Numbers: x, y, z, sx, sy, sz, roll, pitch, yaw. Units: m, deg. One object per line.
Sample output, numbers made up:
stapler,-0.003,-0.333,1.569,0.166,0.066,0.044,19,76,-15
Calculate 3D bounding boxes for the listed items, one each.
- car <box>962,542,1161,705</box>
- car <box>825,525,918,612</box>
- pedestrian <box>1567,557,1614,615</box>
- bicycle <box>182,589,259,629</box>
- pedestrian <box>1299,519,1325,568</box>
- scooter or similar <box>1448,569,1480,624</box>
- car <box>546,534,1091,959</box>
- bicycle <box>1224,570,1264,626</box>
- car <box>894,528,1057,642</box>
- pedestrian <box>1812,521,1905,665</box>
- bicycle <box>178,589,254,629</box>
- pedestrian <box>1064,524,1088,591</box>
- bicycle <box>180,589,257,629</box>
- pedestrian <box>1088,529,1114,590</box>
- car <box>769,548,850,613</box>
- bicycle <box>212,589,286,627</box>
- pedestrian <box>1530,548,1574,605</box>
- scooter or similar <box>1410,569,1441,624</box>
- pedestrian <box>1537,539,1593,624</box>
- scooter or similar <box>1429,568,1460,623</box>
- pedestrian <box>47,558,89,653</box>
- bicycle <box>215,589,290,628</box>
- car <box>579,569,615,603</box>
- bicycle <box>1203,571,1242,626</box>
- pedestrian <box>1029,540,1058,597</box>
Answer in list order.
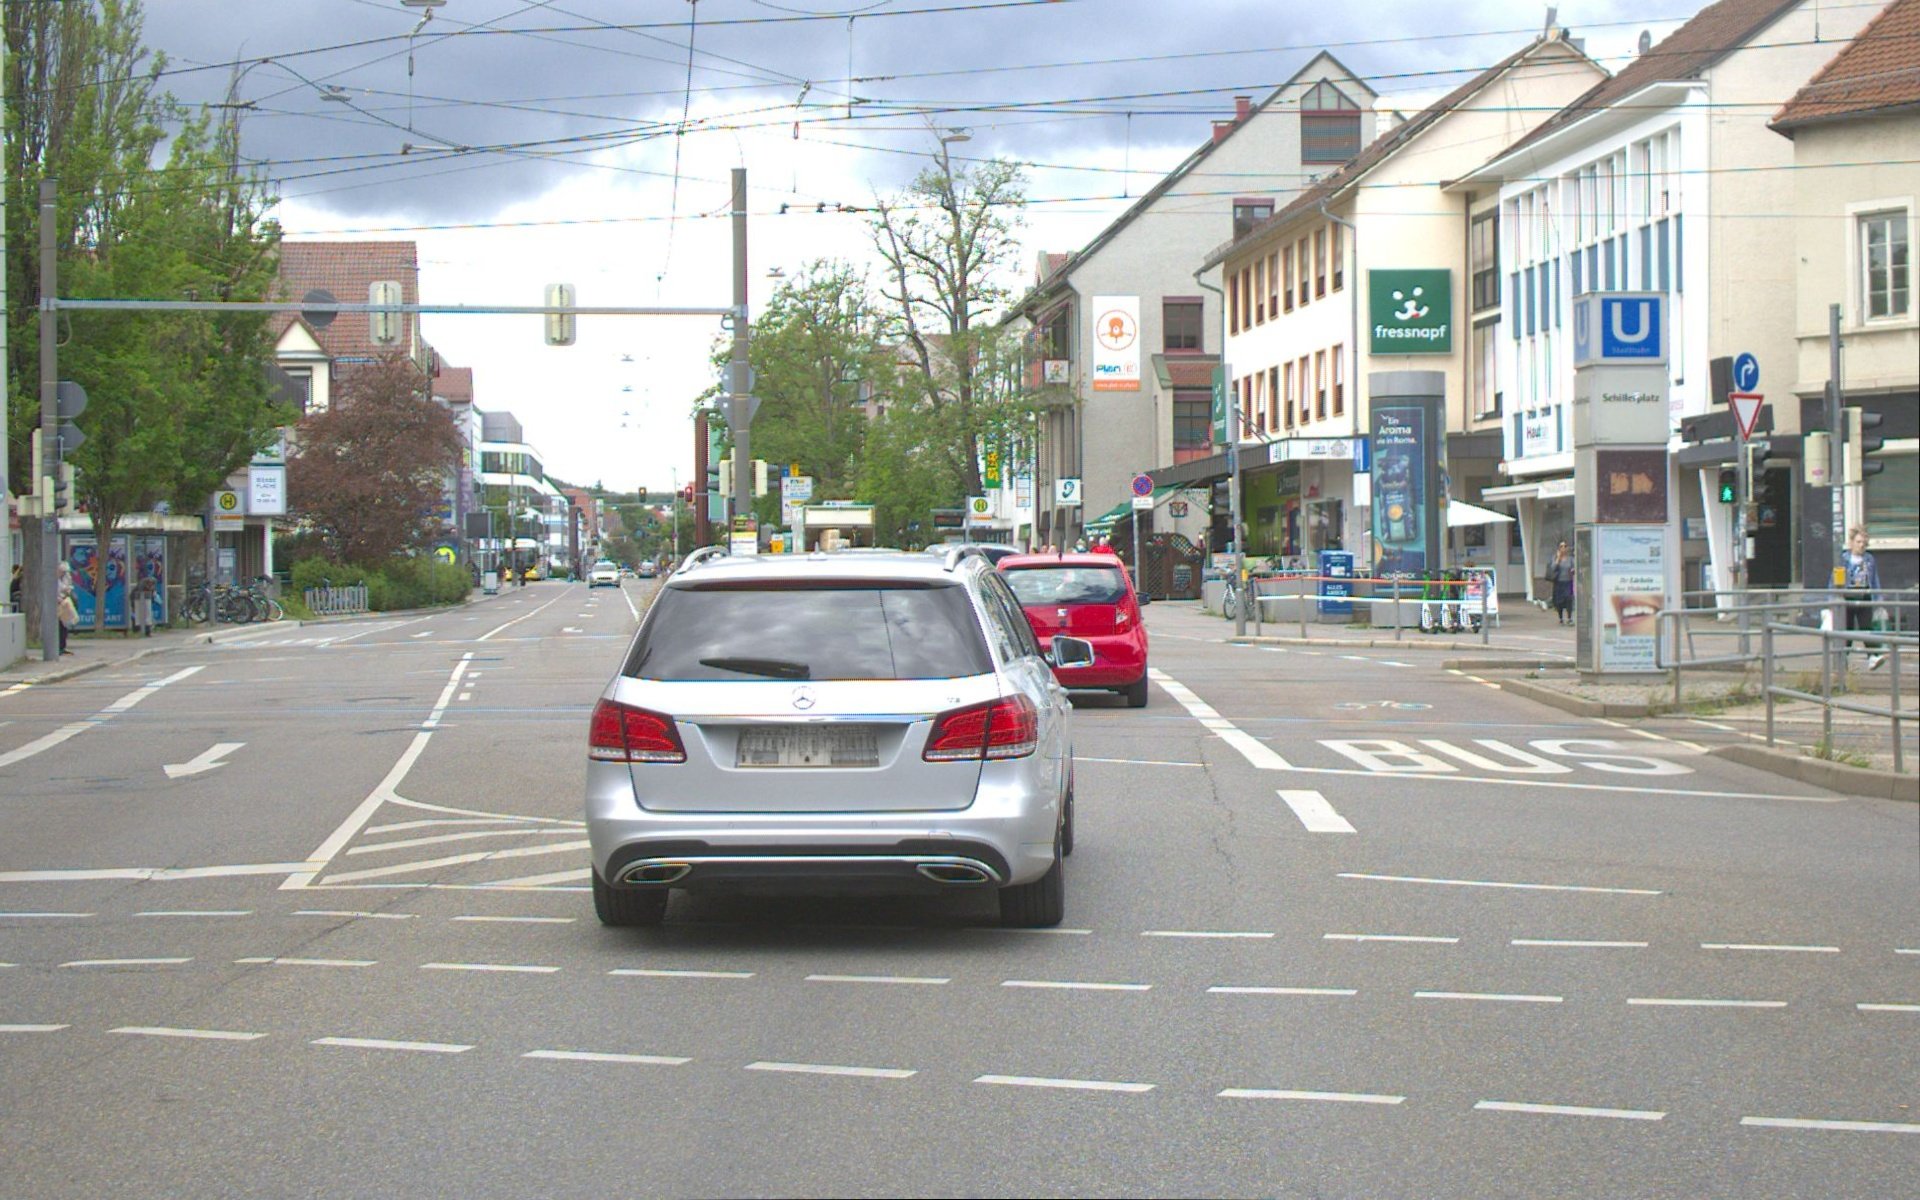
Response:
car,1.053,0.191,33.861,1.734,1.503,3.999,0,1,5
car,-1.890,-0.678,72.444,1.734,1.753,4.001,-1,1,-4
pedestrian,12.569,-0.279,68.546,0.736,1.160,0.643,0,0,-8
bicycle,-19.236,0.242,89.437,1.937,1.025,0.530,0,0,-15
pedestrian,8.797,-1.417,85.960,0.533,1.214,0.580,0,0,-8
scooter or similar,9.272,-0.068,63.287,0.271,0.998,1.029,-1,1,-9
car,-0.430,0.500,14.400,1.846,1.503,4.171,-1,1,3
bicycle,5.798,-0.050,70.200,0.448,1.103,2.149,-1,1,-5
car,0.174,-0.231,48.114,1.734,1.503,4.001,-1,1,-8
pedestrian,10.858,-0.086,41.564,0.840,1.712,0.727,-1,1,-9
bicycle,-19.623,0.231,90.661,1.937,1.025,0.530,0,0,-15
pedestrian,2.906,-1.053,85.948,0.578,1.661,0.651,0,0,1
bicycle,-19.437,0.236,90.082,1.937,1.025,0.530,0,0,-15
pedestrian,3.379,-0.973,82.508,0.578,1.464,0.651,0,0,-2
car,-4.165,-0.539,94.429,1.993,1.744,4.001,0,1,-6
bicycle,-19.321,0.214,93.431,1.937,1.025,0.530,0,0,-15
pedestrian,12.309,-0.488,71.462,0.736,1.160,0.643,0,0,-8
scooter or similar,8.551,-0.077,63.155,0.271,0.998,1.029,-1,1,-9
pedestrian,11.389,-0.352,64.733,0.640,1.586,0.898,0,0,-25
scooter or similar,8.911,-0.089,63.225,0.271,0.998,1.029,-1,1,-9
pedestrian,-15.323,0.092,59.071,0.633,1.600,0.705,-1,0,-18
bicycle,-19.023,0.223,92.480,1.937,1.025,0.530,0,0,-15
car,-21.430,-0.834,202.762,1.993,2.007,4.001,0,1,-7
bicycle,5.350,-0.036,70.161,0.448,1.087,2.149,-1,1,-5
pedestrian,2.110,-0.798,86.848,0.577,1.430,0.651,0,0,-11
